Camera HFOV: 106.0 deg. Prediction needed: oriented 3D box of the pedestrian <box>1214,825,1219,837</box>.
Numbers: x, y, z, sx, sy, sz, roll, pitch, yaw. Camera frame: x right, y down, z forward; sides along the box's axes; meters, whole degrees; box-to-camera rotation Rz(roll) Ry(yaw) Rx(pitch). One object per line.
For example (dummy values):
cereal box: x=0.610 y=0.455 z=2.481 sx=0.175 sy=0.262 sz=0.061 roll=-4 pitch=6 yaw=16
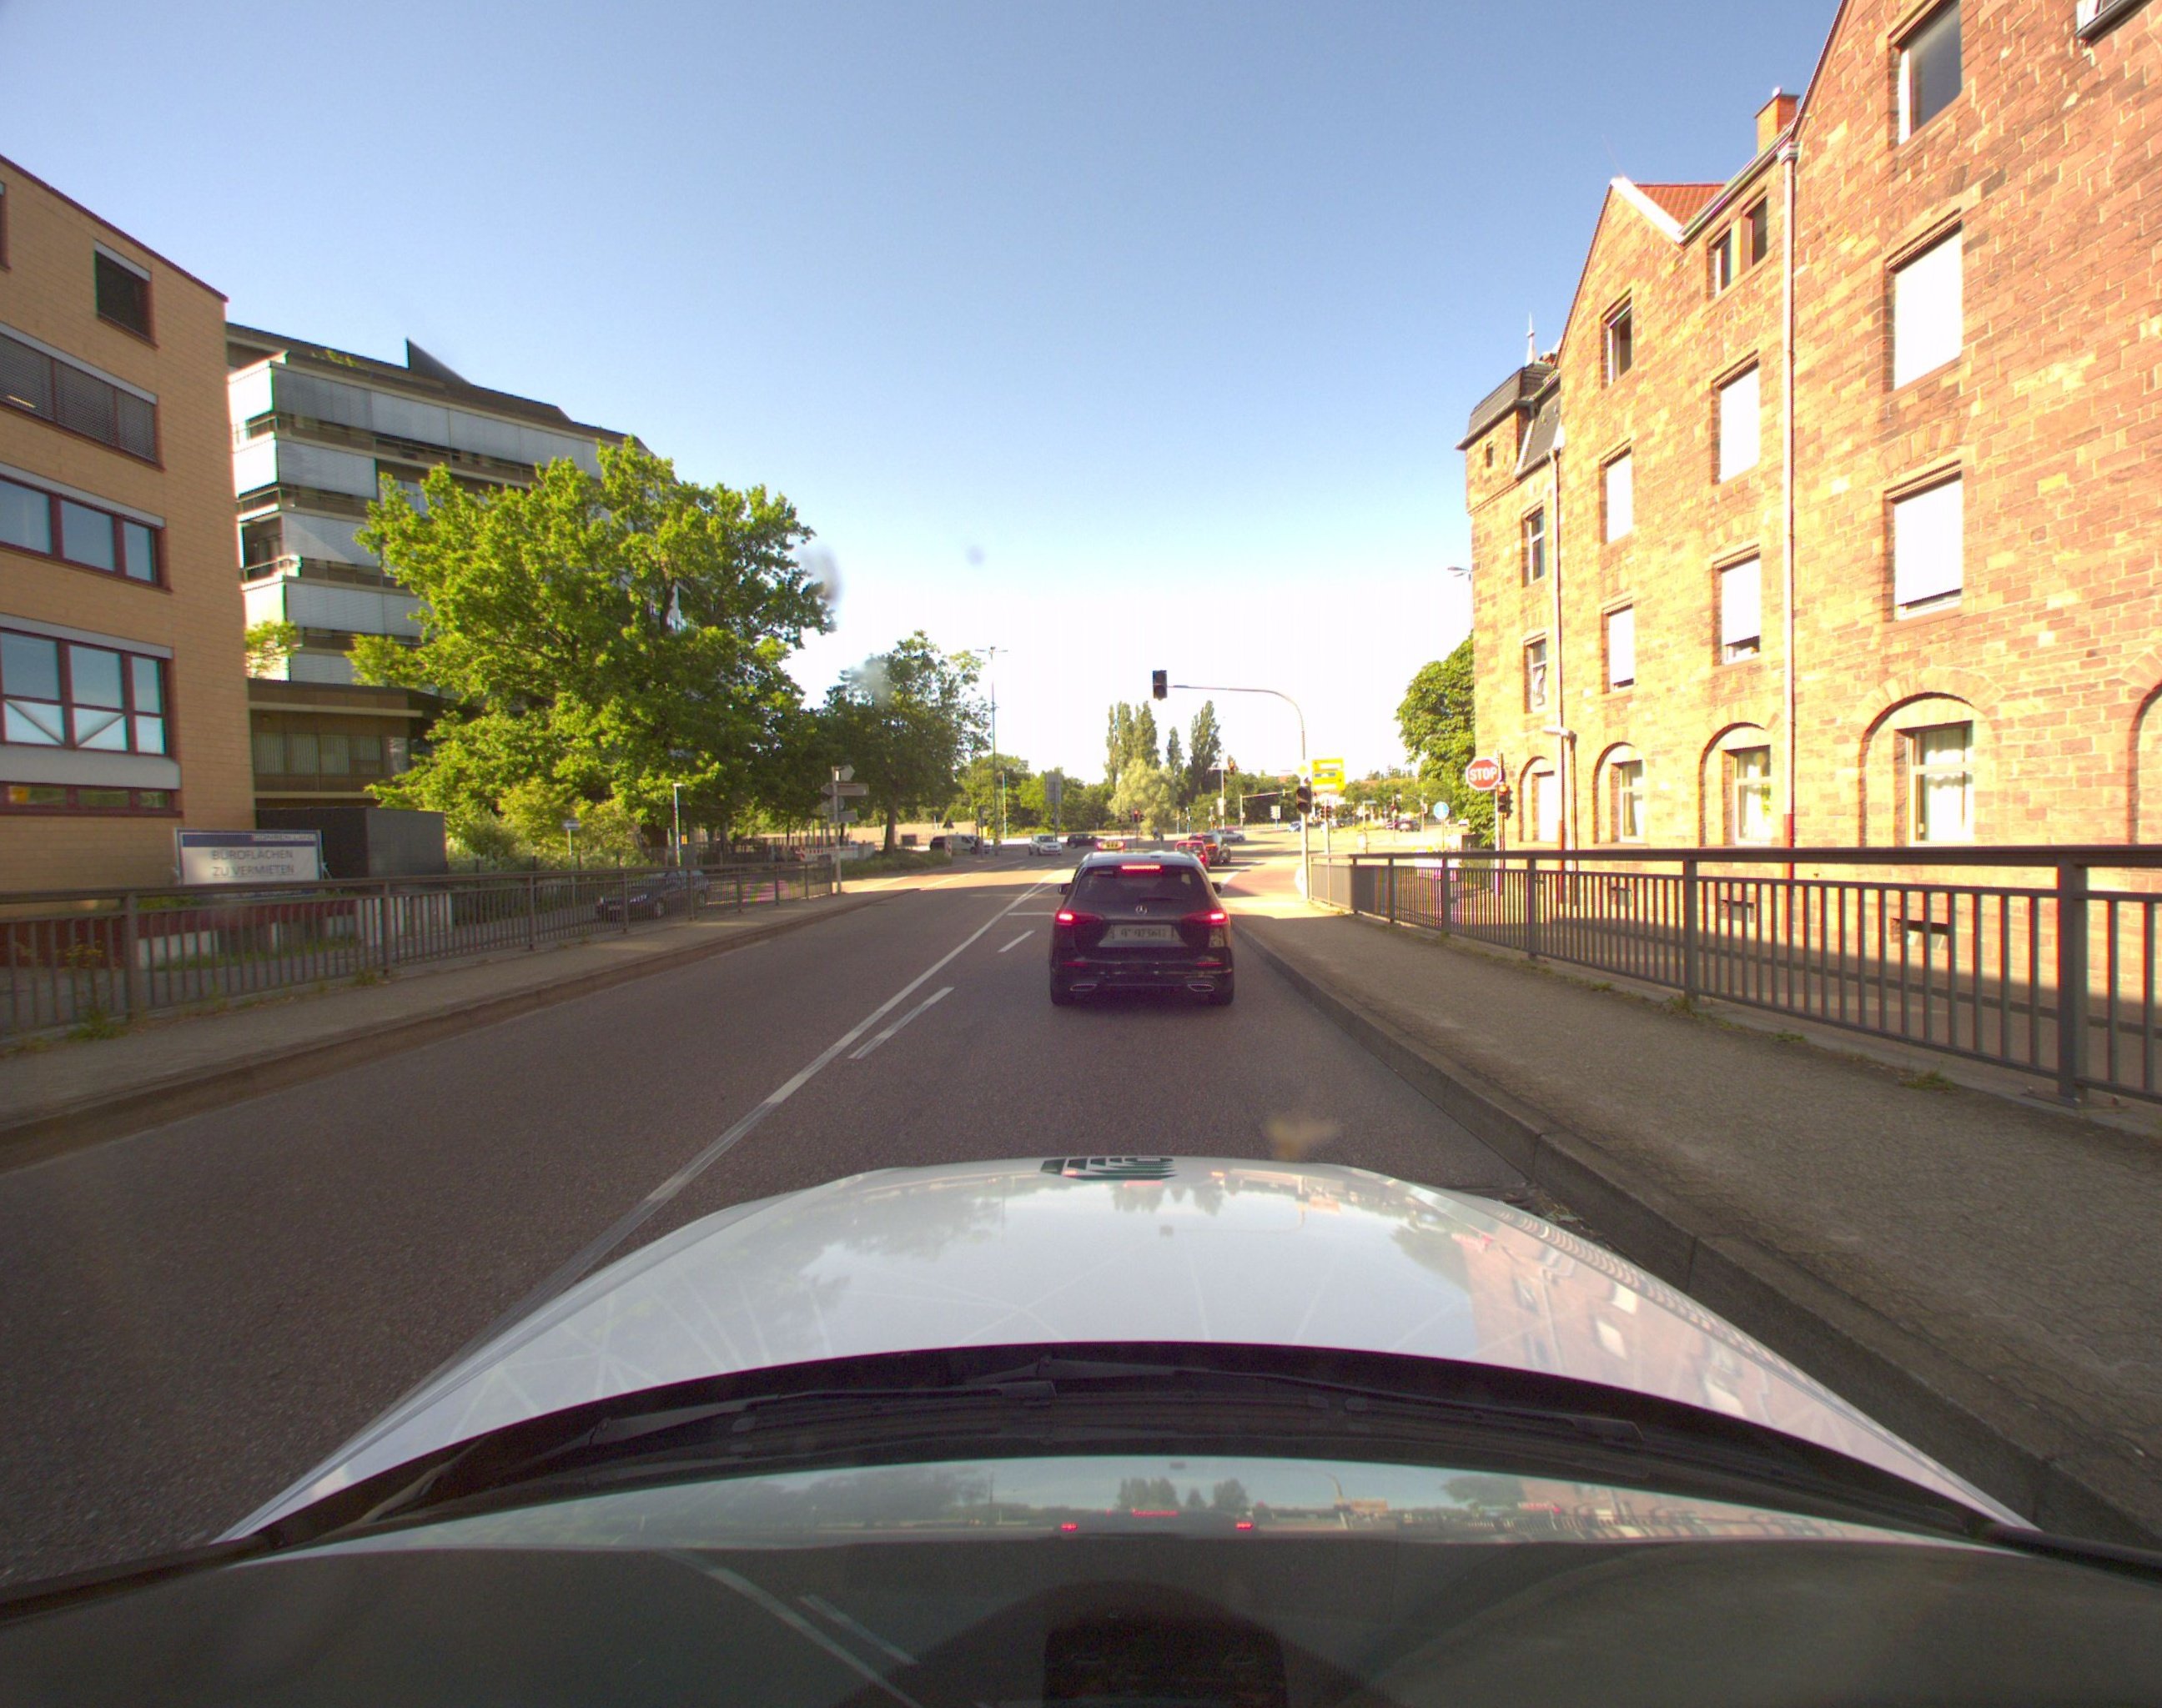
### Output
pedestrian: x=19.261 y=-3.250 z=115.384 sx=0.446 sy=1.585 sz=0.504 roll=-2 pitch=1 yaw=42

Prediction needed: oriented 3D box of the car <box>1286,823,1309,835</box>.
car: x=32.403 y=-3.728 z=121.640 sx=1.860 sy=1.578 sz=4.026 roll=-1 pitch=2 yaw=38

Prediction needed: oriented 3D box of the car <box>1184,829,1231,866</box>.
car: x=6.922 y=-0.386 z=44.326 sx=1.707 sy=1.811 sz=4.319 roll=-1 pitch=2 yaw=19

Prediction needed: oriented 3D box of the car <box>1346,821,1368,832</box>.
car: x=42.269 y=-4.270 z=124.623 sx=1.860 sy=1.578 sz=4.026 roll=-1 pitch=2 yaw=38

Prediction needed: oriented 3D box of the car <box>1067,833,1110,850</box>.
car: x=0.782 y=-1.238 z=80.450 sx=3.967 sy=1.629 sz=1.894 roll=-2 pitch=1 yaw=6

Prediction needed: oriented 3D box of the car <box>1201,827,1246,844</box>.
car: x=14.225 y=-1.856 z=81.511 sx=3.986 sy=1.629 sz=1.885 roll=-2 pitch=1 yaw=-9

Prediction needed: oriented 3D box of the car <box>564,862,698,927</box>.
car: x=-14.062 y=1.187 z=25.736 sx=1.845 sy=1.692 sz=4.002 roll=-2 pitch=2 yaw=2

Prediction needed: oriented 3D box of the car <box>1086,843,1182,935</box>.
car: x=1.062 y=0.596 z=16.174 sx=1.632 sy=1.529 sz=3.478 roll=-2 pitch=1 yaw=4

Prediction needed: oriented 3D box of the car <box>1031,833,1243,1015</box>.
car: x=0.554 y=0.604 z=9.247 sx=1.871 sy=1.613 sz=4.002 roll=0 pitch=1 yaw=2

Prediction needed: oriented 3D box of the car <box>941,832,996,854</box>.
car: x=-10.080 y=-0.999 z=73.069 sx=4.835 sy=1.794 sz=1.937 roll=-2 pitch=2 yaw=37

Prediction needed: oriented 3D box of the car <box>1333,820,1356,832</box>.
car: x=38.381 y=-4.058 z=118.569 sx=1.860 sy=1.578 sz=4.026 roll=-1 pitch=2 yaw=38

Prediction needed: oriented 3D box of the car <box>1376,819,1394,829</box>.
car: x=54.093 y=-5.348 z=144.840 sx=1.860 sy=1.578 sz=4.026 roll=-1 pitch=2 yaw=38

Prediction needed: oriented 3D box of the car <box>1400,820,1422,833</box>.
car: x=40.900 y=-3.428 z=100.800 sx=1.722 sy=1.498 sz=4.026 roll=-2 pitch=0 yaw=33

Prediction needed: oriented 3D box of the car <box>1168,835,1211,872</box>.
car: x=5.212 y=-0.054 z=38.698 sx=1.710 sy=1.521 sz=3.499 roll=-1 pitch=3 yaw=12

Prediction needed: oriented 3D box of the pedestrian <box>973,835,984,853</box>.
pedestrian: x=-8.538 y=-0.823 z=67.640 sx=0.700 sy=1.525 sz=0.746 roll=-1 pitch=1 yaw=12

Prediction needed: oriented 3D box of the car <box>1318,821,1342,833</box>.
car: x=34.698 y=-3.808 z=113.485 sx=1.860 sy=1.578 sz=4.026 roll=-1 pitch=2 yaw=38

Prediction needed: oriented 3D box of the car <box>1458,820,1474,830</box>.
car: x=59.002 y=-4.437 z=124.786 sx=1.974 sy=1.365 sz=4.342 roll=-1 pitch=3 yaw=29

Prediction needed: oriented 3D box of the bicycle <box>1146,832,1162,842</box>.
bicycle: x=8.261 y=-1.886 z=92.081 sx=0.521 sy=1.050 sz=2.002 roll=-2 pitch=2 yaw=44

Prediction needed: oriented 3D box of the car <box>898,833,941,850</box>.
car: x=-16.759 y=-1.286 z=84.575 sx=3.958 sy=1.629 sz=1.899 roll=-1 pitch=1 yaw=15

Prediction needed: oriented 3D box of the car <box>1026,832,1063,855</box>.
car: x=-2.824 y=-0.838 z=62.446 sx=1.783 sy=1.635 sz=3.977 roll=-4 pitch=3 yaw=-18

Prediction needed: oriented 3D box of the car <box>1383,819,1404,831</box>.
car: x=42.504 y=-3.915 z=110.744 sx=1.866 sy=1.547 sz=4.025 roll=-1 pitch=-1 yaw=34

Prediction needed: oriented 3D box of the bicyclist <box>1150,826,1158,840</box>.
bicyclist: x=8.250 y=-2.326 z=92.061 sx=0.521 sy=1.551 sz=0.812 roll=-2 pitch=1 yaw=44
